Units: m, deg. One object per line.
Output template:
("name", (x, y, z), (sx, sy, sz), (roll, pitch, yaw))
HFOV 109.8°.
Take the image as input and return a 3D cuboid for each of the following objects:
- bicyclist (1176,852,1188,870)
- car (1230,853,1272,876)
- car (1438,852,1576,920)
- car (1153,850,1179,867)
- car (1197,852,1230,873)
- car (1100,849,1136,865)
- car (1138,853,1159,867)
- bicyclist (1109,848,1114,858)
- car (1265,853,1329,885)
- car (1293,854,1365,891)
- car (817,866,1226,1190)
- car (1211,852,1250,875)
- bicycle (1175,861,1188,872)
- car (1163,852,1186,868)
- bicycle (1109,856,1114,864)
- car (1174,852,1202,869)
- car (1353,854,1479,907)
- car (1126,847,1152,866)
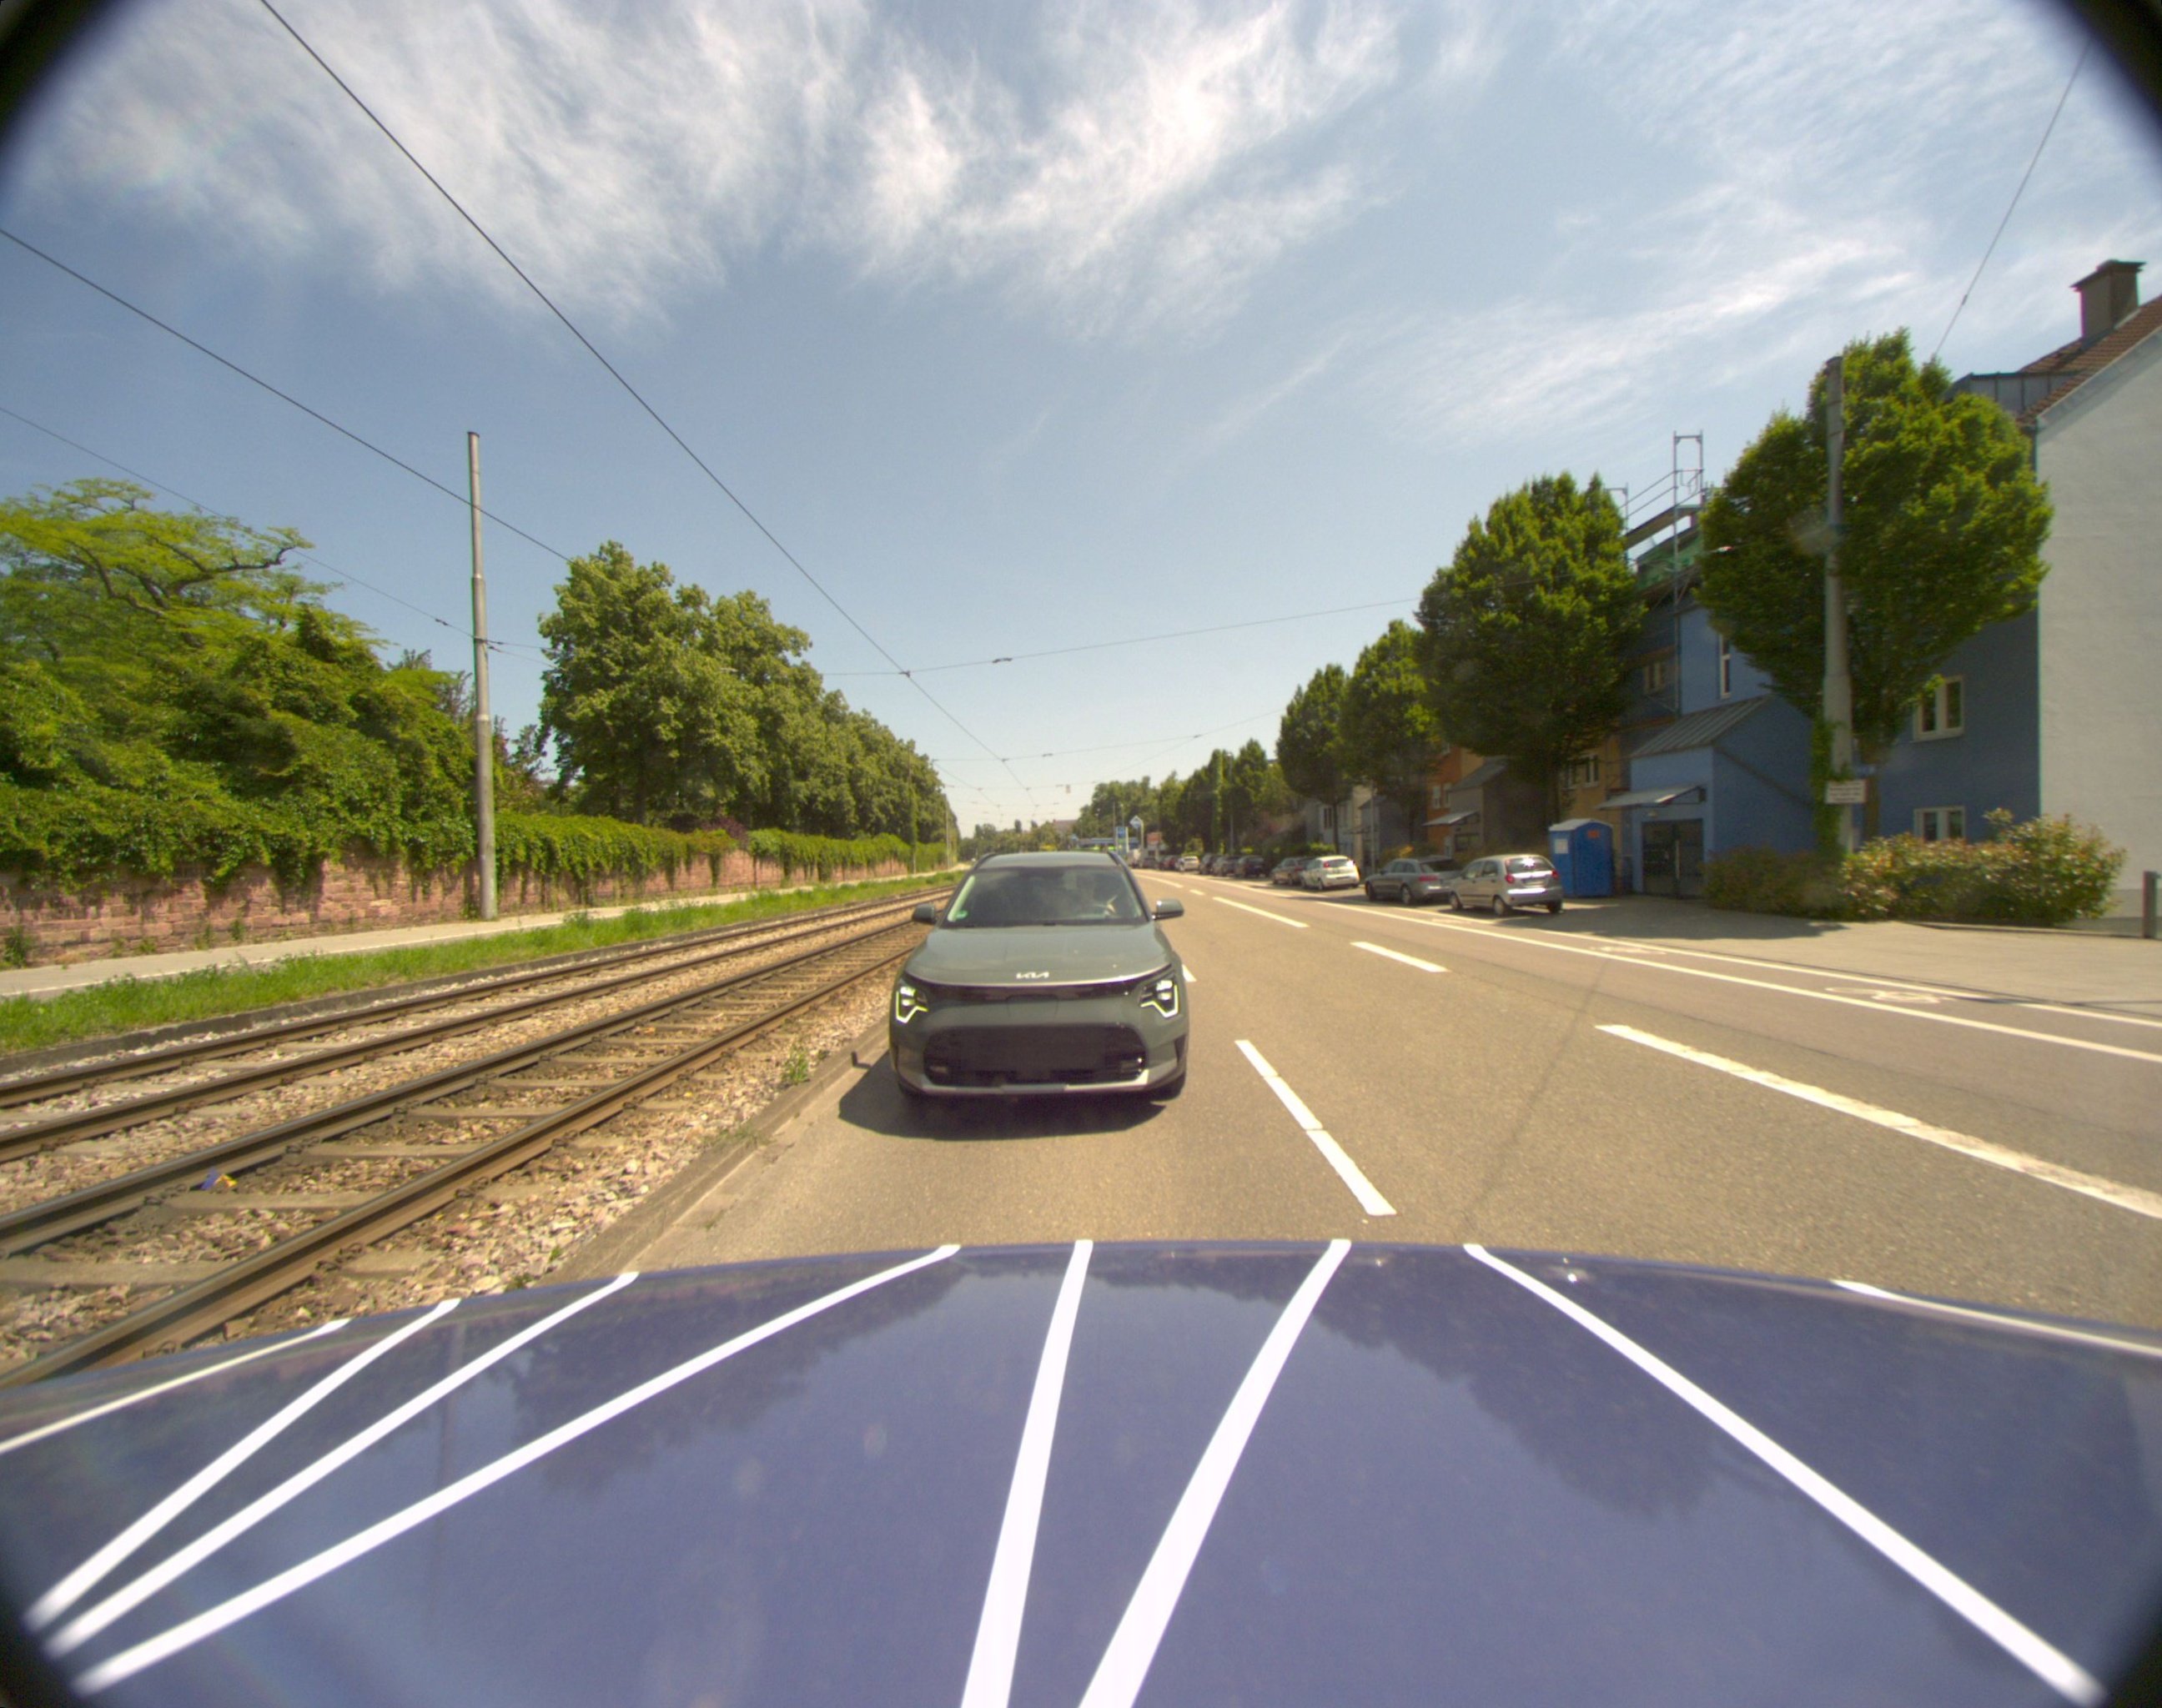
("bicyclist", (8.548, 0.588, 64.368), (0.737, 1.422, 1.124), (2, 1, -2))
("car", (11.506, 0.690, 51.690), (1.754, 1.424, 4.257), (-4, 0, 0))
("car", (11.032, 0.771, 19.962), (1.597, 1.487, 3.448), (-6, 0, 1))
("car", (9.494, 0.485, 85.220), (1.999, 1.783, 4.556), (-2, 0, -5))
("car", (10.916, 0.661, 62.800), (1.772, 1.579, 4.147), (-3, 0, -3))
("car", (5.909, 0.523, 121.421), (5.219, 2.294, 2.288), (-3, 0, 16))
("car", (8.386, 0.727, 94.207), (1.870, 1.528, 4.142), (-3, 0, -4))
("bicyclist", (4.865, -0.163, 121.015), (0.737, 1.496, 0.737), (0, 1, 1))
("car", (11.427, 0.753, 40.494), (1.708, 1.421, 4.750), (-6, 0, -3))
("car", (11.380, 0.810, 35.181), (1.750, 1.434, 4.420), (-6, 0, 0))
("car", (-0.216, 0.953, 5.972), (2.062, 1.534, 4.001), (-3, 0, 3))
("car", (11.175, 0.693, 56.979), (1.830, 1.487, 4.756), (-3, 0, -1))
("bicycle", (8.543, 1.066, 64.443), (0.703, 0.945, 2.243), (1, -1, -2))
("car", (9.825, 0.659, 80.013), (1.604, 1.584, 3.680), (-3, 0, -6))
("bicycle", (4.868, 0.963, 121.132), (0.641, 1.089, 1.639), (1, 1, 2))
("car", (10.434, 0.629, 74.121), (1.845, 1.573, 4.495), (-3, 0, -2))
("car", (10.966, 0.828, 25.319), (1.791, 1.441, 5.133), (-5, -1, 0))
("car", (7.640, 0.340, 100.153), (2.285, 2.294, 5.226), (-3, 0, -8))
